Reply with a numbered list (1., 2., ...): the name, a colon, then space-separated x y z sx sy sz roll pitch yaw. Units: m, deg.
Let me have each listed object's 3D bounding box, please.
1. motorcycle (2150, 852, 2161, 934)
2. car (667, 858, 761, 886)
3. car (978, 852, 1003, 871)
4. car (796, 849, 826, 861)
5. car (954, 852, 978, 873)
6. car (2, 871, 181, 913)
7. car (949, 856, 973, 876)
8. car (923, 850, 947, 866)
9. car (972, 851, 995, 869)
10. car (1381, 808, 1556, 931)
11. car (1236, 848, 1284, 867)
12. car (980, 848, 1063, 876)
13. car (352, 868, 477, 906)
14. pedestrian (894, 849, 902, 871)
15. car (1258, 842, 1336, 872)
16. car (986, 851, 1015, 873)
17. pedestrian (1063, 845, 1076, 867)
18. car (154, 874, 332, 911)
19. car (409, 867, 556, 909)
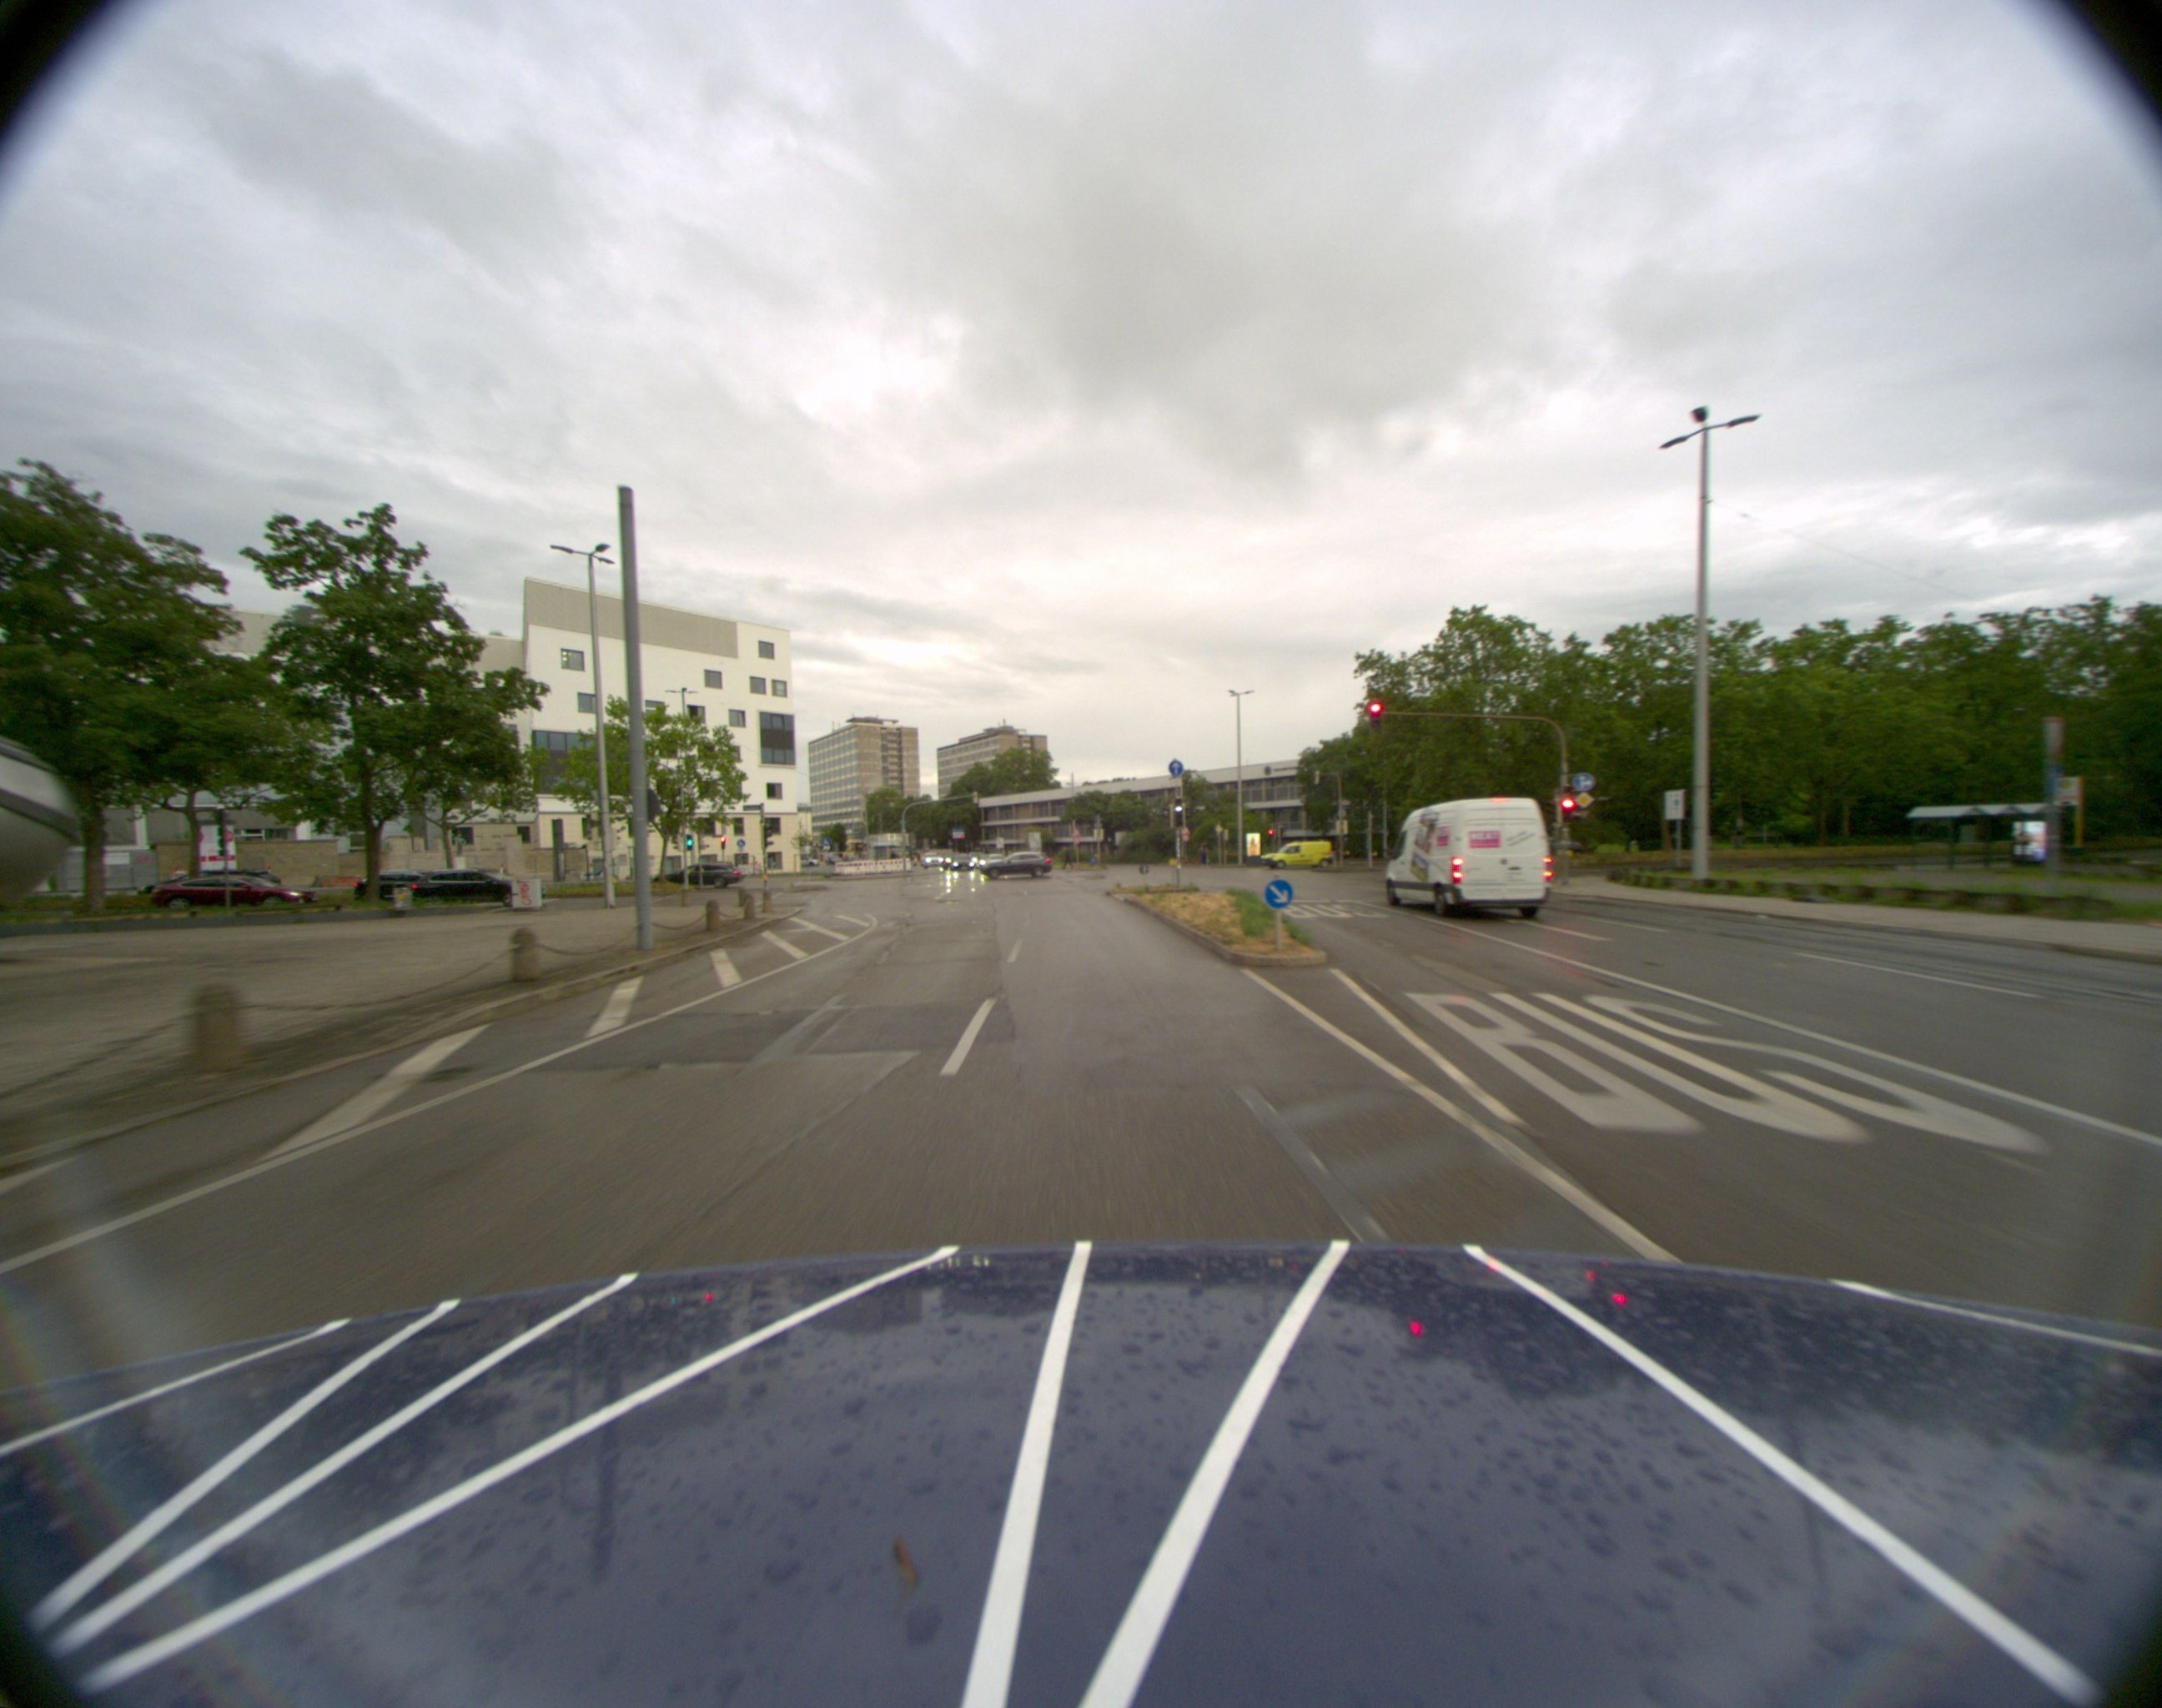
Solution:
1. motorcycle: 16.837 0.590 11.130 0.516 1.240 1.267 -3 1 -5
2. car: -21.812 1.050 45.382 4.844 1.523 2.093 -1 0 -21
3. car: -9.032 0.733 75.388 2.078 1.816 4.558 -1 0 -12
4. car: -43.421 0.170 122.244 3.995 1.694 1.841 -1 0 5
5. car: -10.558 0.729 69.339 1.885 1.857 4.343 -1 0 -12
6. car: -44.691 1.669 34.499 4.467 1.703 2.072 -1 0 -33
7. car: -12.015 1.152 75.878 2.078 1.900 4.558 -1 0 -12
8. car: -17.641 0.448 91.666 2.079 1.900 4.554 -1 0 -22
9. car: -10.613 0.625 82.345 2.078 1.900 4.558 -1 0 -12
10. car: 9.100 0.330 18.489 1.987 2.514 5.635 -1 0 7
11. car: 15.997 0.323 67.859 3.831 1.664 1.932 -1 0 25
12. car: -3.965 0.516 50.375 5.294 1.790 2.047 -1 0 -11
13. car: -29.321 1.409 33.572 3.744 1.572 1.757 0 0 -21
14. pedestrian: -16.811 0.508 69.730 0.643 2.002 0.594 -1 1 -15
15. car: 15.075 0.215 53.134 4.822 1.995 2.122 -1 0 -6
16. car: -7.403 0.735 69.409 2.078 1.900 4.558 -1 0 -12
17. pedestrian: -0.948 0.170 61.424 0.902 1.786 0.541 -3 1 4
18. car: -34.707 1.563 31.650 4.618 1.358 1.776 0 0 -24
19. car: -25.167 1.393 32.170 4.495 1.588 1.982 0 0 -21
